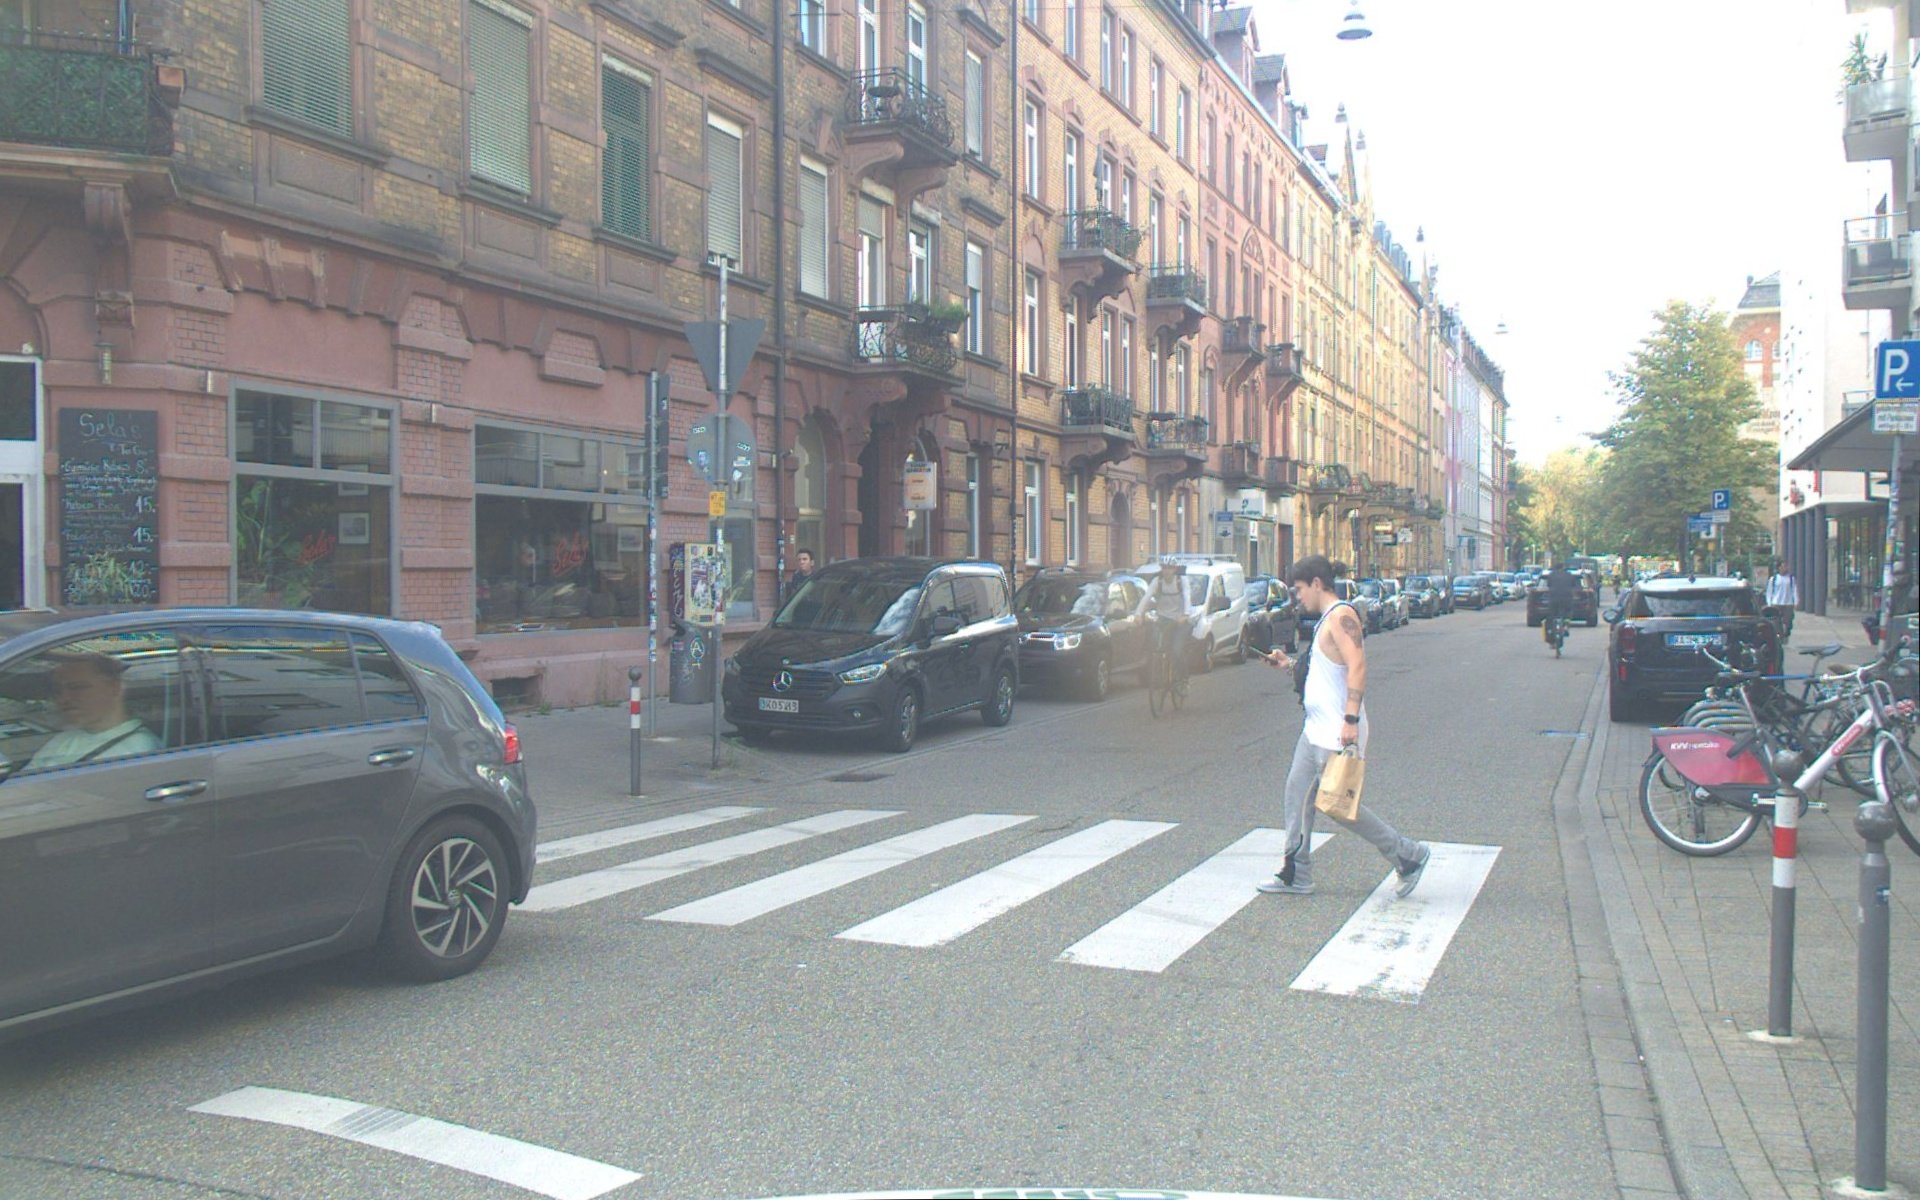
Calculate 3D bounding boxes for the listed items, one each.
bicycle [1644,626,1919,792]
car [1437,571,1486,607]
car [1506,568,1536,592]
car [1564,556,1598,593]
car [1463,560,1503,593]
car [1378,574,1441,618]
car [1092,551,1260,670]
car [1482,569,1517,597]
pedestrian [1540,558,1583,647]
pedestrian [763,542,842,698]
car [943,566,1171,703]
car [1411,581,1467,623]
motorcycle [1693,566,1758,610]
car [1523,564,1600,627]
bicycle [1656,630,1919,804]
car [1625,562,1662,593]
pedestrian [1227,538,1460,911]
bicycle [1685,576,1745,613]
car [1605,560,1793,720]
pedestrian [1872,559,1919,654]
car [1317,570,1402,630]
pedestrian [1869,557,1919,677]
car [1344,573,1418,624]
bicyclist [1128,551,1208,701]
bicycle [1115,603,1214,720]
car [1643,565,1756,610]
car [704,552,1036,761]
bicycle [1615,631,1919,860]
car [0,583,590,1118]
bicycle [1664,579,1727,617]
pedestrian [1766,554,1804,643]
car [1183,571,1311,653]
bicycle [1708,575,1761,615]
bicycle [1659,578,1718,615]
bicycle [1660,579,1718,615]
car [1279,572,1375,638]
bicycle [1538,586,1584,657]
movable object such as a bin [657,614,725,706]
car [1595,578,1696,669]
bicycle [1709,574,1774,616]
[{"bbox_3d":[5.899,0.774,11.837,1.750,1.089,0.587,-2,1,13],"label":"bicycle"},{"bbox_3d":[22.342,-0.519,73.605,1.656,1.393,3.867,4,3,22],"label":"car"},{"bbox_3d":[37.520,-1.339,110.505,1.655,1.577,3.867,1,1,22],"label":"car"},{"bbox_3d":[36.150,-1.495,96.260,1.746,2.055,3.888,1,2,22],"label":"car"},{"bbox_3d":[26.946,-1.224,85.162,1.656,1.577,3.867,2,2,22],"label":"car"},{"bbox_3d":[15.926,-0.178,58.537,1.656,1.410,3.867,2,2,22],"label":"car"},{"bbox_3d":[3.845,0.112,28.761,1.880,1.904,4.437,0,1,22],"label":"car"},{"bbox_3d":[31.469,-0.988,96.351,1.655,1.577,3.867,1,1,22],"label":"car"},{"bbox_3d":[11.664,0.034,32.070,0.703,1.678,0.930,1,2,23],"label":"pedestrian"},{"bbox_3d":[-1.956,0.232,20.653,0.662,1.872,0.858,2,2,17],"label":"pedestrian"},{"bbox_3d":[1.445,0.379,22.802,1.953,1.666,4.146,1,2,21],"label":"car"},{"bbox_3d":[18.636,0.065,64.209,1.656,1.462,3.867,2,2,22],"label":"car"},{"bbox_3d":[28.501,-0.440,61.573,2.109,1.557,0.685,-2,0,28],"label":"motorcycle"},{"bbox_3d":[17.679,-0.153,48.503,1.925,1.771,4.040,1,1,23],"label":"car"},{"bbox_3d":[5.731,0.790,11.228,1.750,1.089,0.569,-2,1,13],"label":"bicycle"},{"bbox_3d":[39.508,-1.318,95.608,1.891,1.666,3.999,1,2,23],"label":"car"},{"bbox_3d":[1.890,0.567,8.089,0.998,1.700,0.804,0,0,21],"label":"pedestrian"},{"bbox_3d":[25.706,-0.182,56.354,0.496,1.179,1.773,-3,1,-41],"label":"bicycle"},{"bbox_3d":[8.562,0.398,19.304,1.756,1.633,3.923,-3,0,23],"label":"car"},{"bbox_3d":[16.325,0.100,28.820,0.631,1.616,0.780,-2,0,24],"label":"pedestrian"},{"bbox_3d":[11.280,-0.035,46.535,1.706,1.509,3.983,2,2,22],"label":"car"},{"bbox_3d":[12.972,0.219,22.695,0.807,1.616,0.780,-1,0,24],"label":"pedestrian"},{"bbox_3d":[12.919,-0.085,50.633,1.656,1.410,3.867,2,2,22],"label":"car"},{"bbox_3d":[2.453,0.294,19.440,0.686,1.707,1.113,-1,1,20],"label":"bicyclist"},{"bbox_3d":[2.417,0.686,19.311,0.686,1.241,2.118,-1,1,20],"label":"bicycle"},{"bbox_3d":[28.584,-0.459,64.038,3.680,1.573,1.732,-2,-1,13],"label":"car"},{"bbox_3d":[-0.757,0.438,17.057,1.724,1.804,4.406,2,2,21],"label":"car"},{"bbox_3d":[4.663,0.790,9.182,1.844,1.145,0.908,-3,0,21],"label":"bicycle"},{"bbox_3d":[-3.218,0.711,5.401,1.757,1.463,3.995,-2,0,27],"label":"car"},{"bbox_3d":[22.727,-0.058,51.125,1.728,1.075,0.412,-2,0,18],"label":"bicycle"},{"bbox_3d":[16.591,-0.046,33.278,0.599,1.756,1.126,-1,1,23],"label":"pedestrian"},{"bbox_3d":[5.871,0.217,33.502,1.706,1.509,3.983,2,1,22],"label":"car"},{"bbox_3d":[24.336,-0.156,51.983,1.465,1.166,0.411,-2,0,23],"label":"bicycle"},{"bbox_3d":[24.800,-0.122,56.303,1.759,1.179,0.500,-2,0,26],"label":"bicycle"},{"bbox_3d":[24.135,-0.084,54.763,1.731,1.118,0.411,-2,0,26],"label":"bicycle"},{"bbox_3d":[9.350,0.084,41.933,1.706,1.509,3.983,2,2,22],"label":"car"},{"bbox_3d":[11.633,0.399,32.005,0.703,1.296,1.883,1,2,23],"label":"bicycle"},{"bbox_3d":[-2.236,0.490,13.749,0.375,0.726,0.476,1,2,18],"label":"movable object such as a bin"},{"bbox_3d":[12.359,0.375,29.764,1.563,1.464,4.029,-1,1,24],"label":"car"},{"bbox_3d":[23.724,-0.154,50.254,1.730,1.182,0.650,-2,0,25],"label":"bicycle"}]
